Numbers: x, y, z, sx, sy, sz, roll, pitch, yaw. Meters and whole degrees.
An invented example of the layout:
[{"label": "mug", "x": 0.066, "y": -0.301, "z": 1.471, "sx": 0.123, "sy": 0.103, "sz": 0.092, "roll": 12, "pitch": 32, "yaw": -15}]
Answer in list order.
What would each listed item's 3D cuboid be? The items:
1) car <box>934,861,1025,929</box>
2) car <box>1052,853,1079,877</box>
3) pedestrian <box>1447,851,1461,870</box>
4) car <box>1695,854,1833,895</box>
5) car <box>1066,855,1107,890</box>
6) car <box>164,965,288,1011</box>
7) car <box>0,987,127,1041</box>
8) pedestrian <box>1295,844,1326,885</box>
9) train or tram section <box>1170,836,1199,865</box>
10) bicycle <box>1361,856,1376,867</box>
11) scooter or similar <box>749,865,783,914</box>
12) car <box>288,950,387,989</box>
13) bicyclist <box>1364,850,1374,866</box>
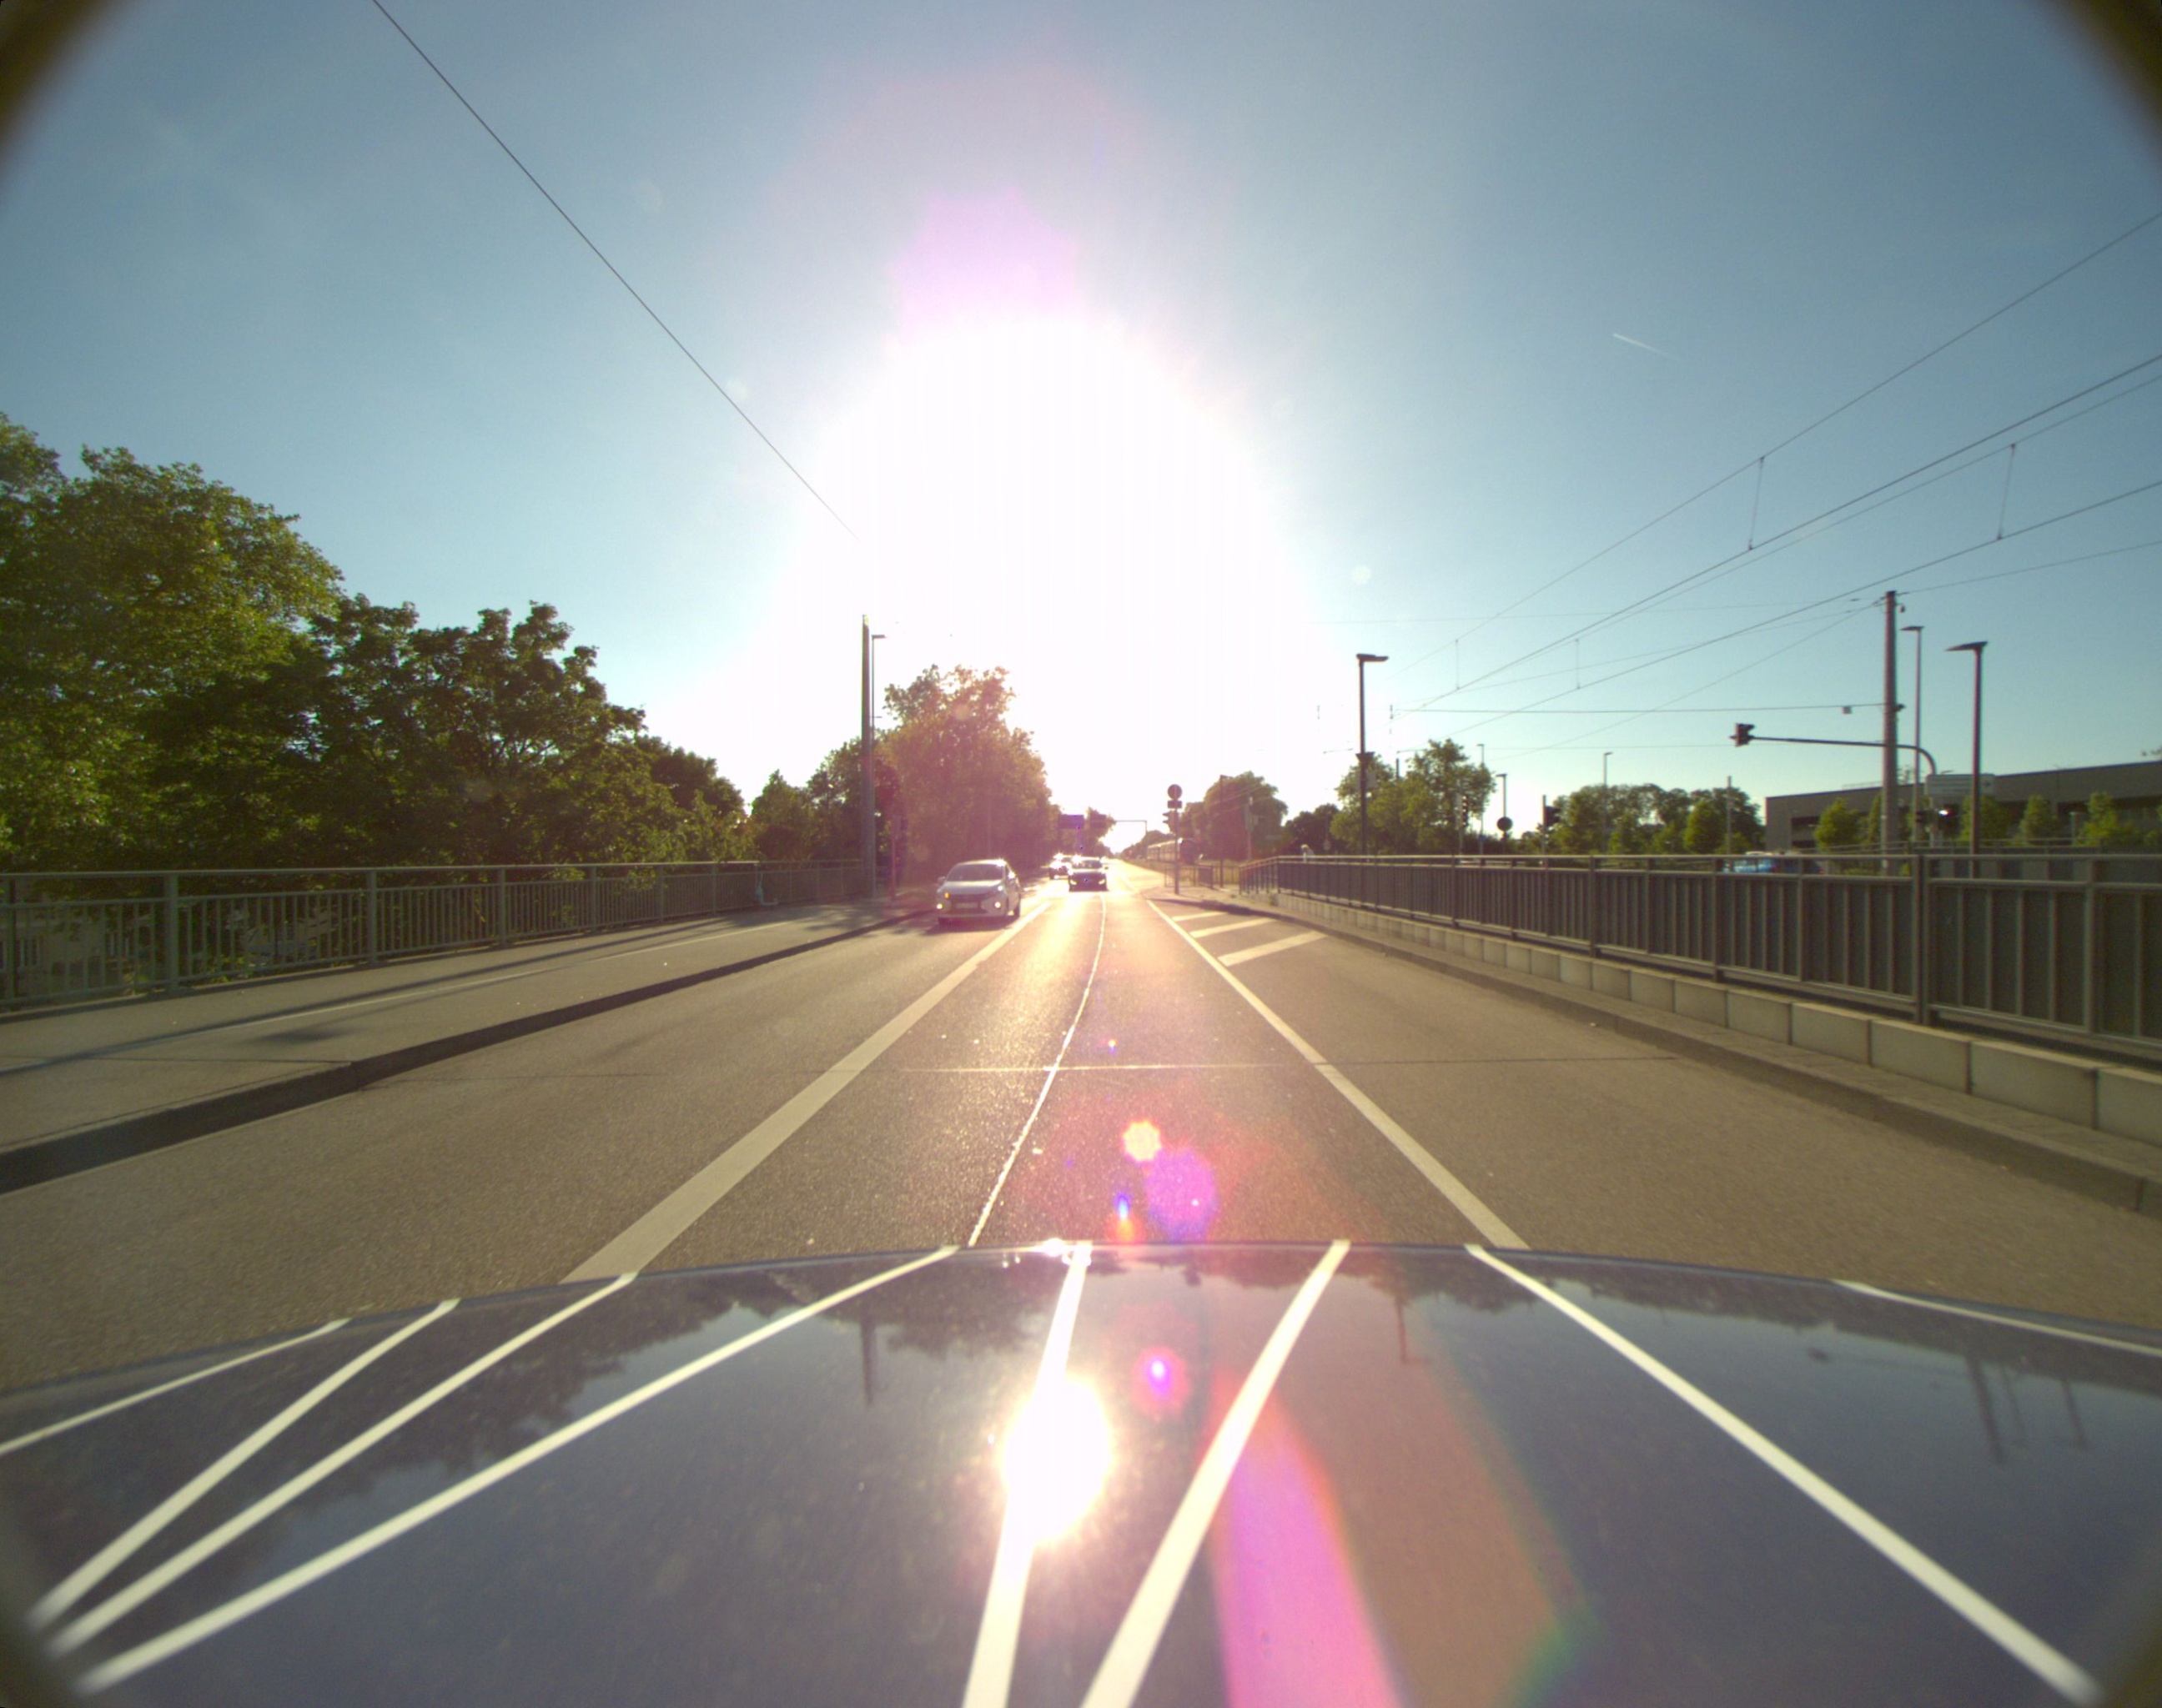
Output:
[{"label": "car", "x": -2.441, "y": 0.952, "z": 19.042, "sx": 1.671, "sy": 1.465, "sz": 3.744, "roll": -1, "pitch": 0, "yaw": 1}, {"label": "car", "x": -1.091, "y": 0.774, "z": 55.704, "sx": 1.824, "sy": 1.608, "sz": 4.000, "roll": -1, "pitch": 0, "yaw": 0}, {"label": "pedestrian", "x": 30.810, "y": 0.525, "z": 62.730, "sx": 0.722, "sy": 1.599, "sz": 0.879, "roll": -1, "pitch": 1, "yaw": 2}, {"label": "car", "x": 25.797, "y": 0.734, "z": 28.903, "sx": 1.736, "sy": 1.437, "sz": 4.000, "roll": 0, "pitch": 0, "yaw": 2}, {"label": "car", "x": 0.305, "y": 0.828, "z": 35.965, "sx": 1.786, "sy": 1.530, "sz": 4.000, "roll": -1, "pitch": 0, "yaw": 2}, {"label": "car", "x": -44.464, "y": 6.937, "z": 39.668, "sx": 1.714, "sy": 1.526, "sz": 4.074, "roll": -6, "pitch": 0, "yaw": 1}, {"label": "car", "x": -44.863, "y": 6.950, "z": 32.922, "sx": 1.714, "sy": 1.526, "sz": 4.074, "roll": -6, "pitch": 0, "yaw": 1}, {"label": "pedestrian", "x": 9.385, "y": 0.430, "z": 31.086, "sx": 0.892, "sy": 1.635, "sz": 0.986, "roll": -1, "pitch": 1, "yaw": -6}, {"label": "train or tram section", "x": 15.180, "y": -0.505, "z": 112.253, "sx": 2.891, "sy": 3.924, "sz": 12.113, "roll": -1, "pitch": 0, "yaw": 1}, {"label": "bicycle", "x": 30.215, "y": 0.812, "z": 79.871, "sx": 0.632, "sy": 1.121, "sz": 2.528, "roll": -1, "pitch": 0, "yaw": 2}, {"label": "scooter or similar", "x": -8.460, "y": 0.931, "z": 20.425, "sx": 0.427, "sy": 1.267, "sz": 1.083, "roll": 0, "pitch": 0, "yaw": 2}, {"label": "car", "x": -44.472, "y": 6.886, "z": 45.578, "sx": 1.714, "sy": 1.526, "sz": 4.074, "roll": -6, "pitch": 0, "yaw": 1}, {"label": "bicyclist", "x": 30.242, "y": 0.406, "z": 79.886, "sx": 0.770, "sy": 1.608, "sz": 0.835, "roll": -1, "pitch": 1, "yaw": 2}]
